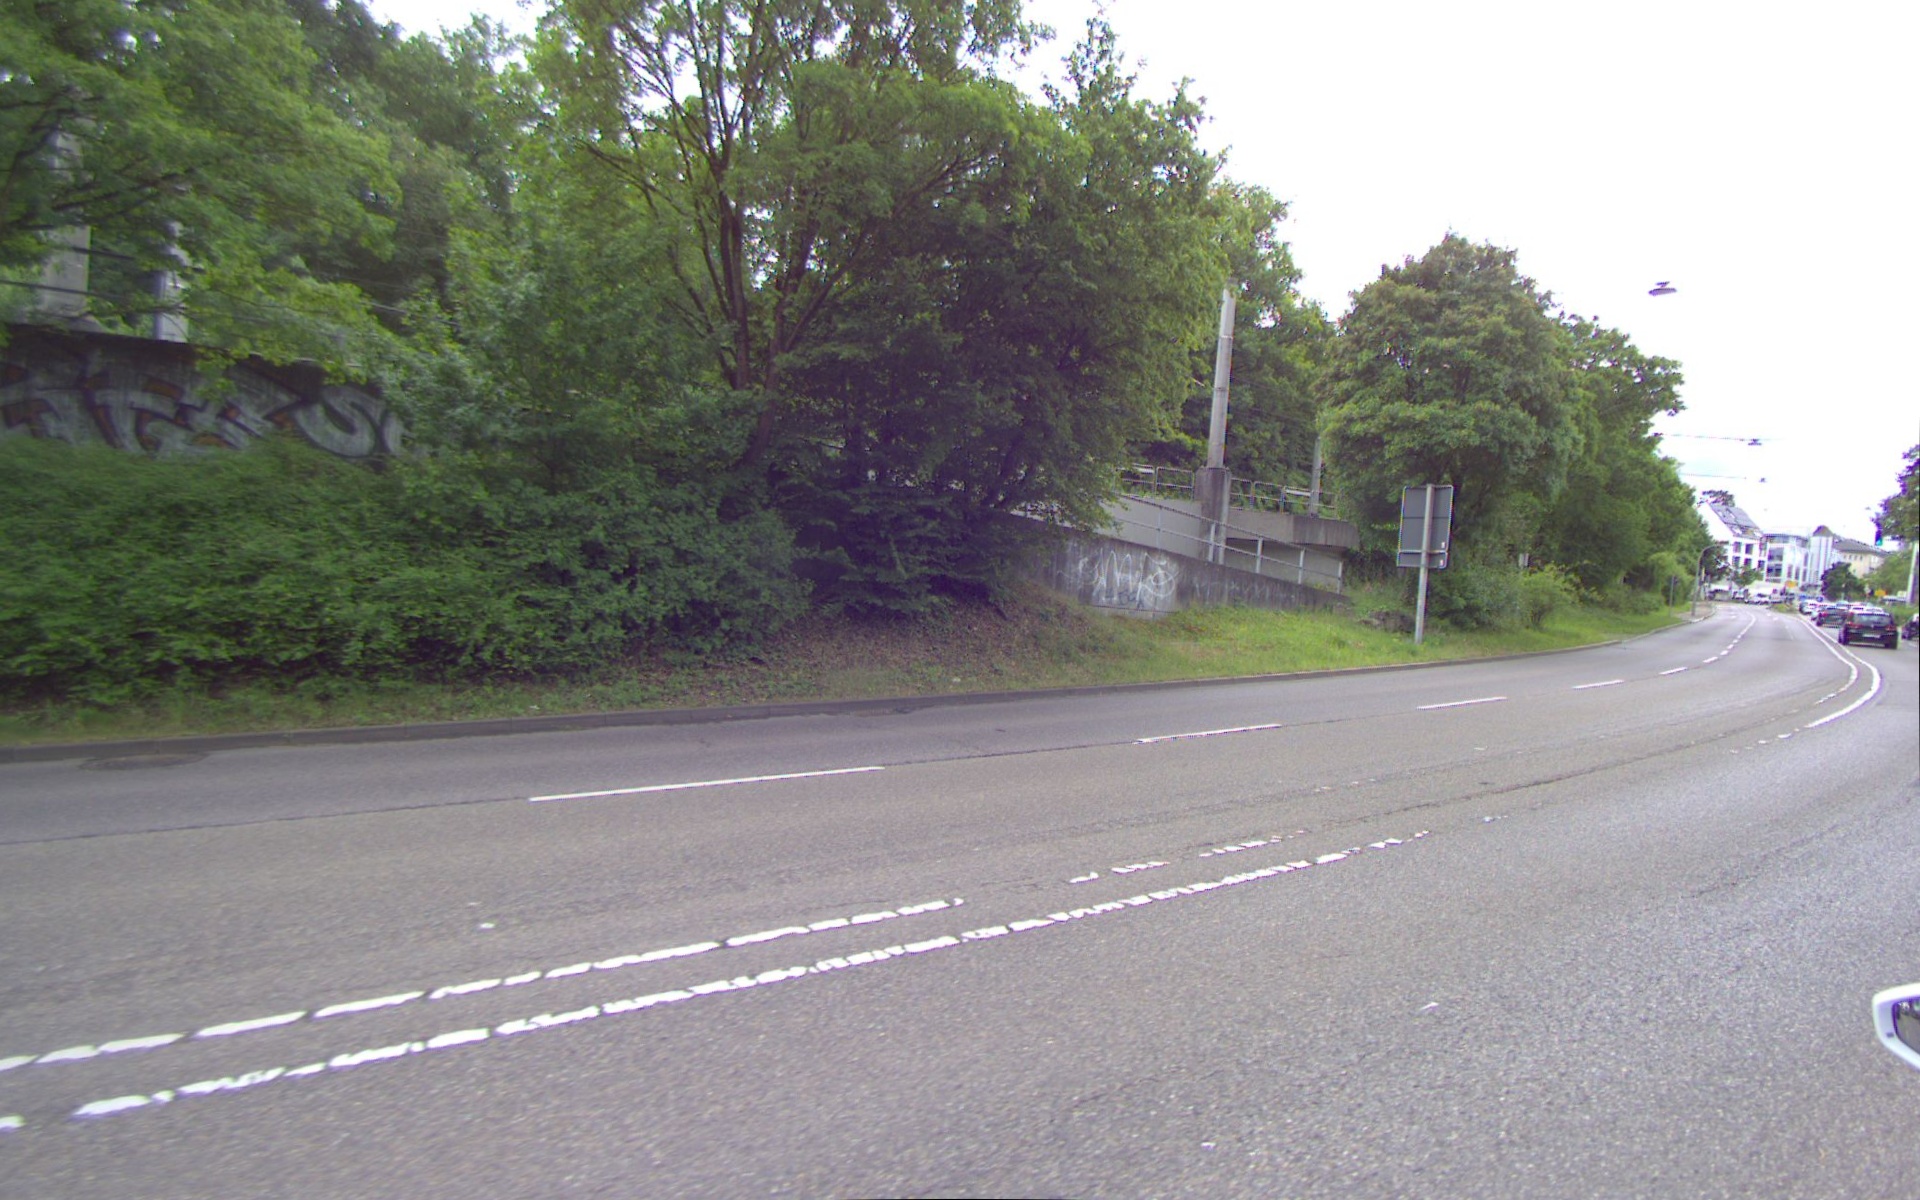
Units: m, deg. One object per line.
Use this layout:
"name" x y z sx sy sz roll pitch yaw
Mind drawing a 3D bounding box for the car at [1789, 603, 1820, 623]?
"car" 73.391 1.121 87.274 1.693 1.611 3.974 5 4 44

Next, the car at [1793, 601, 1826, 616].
"car" 95.354 0.906 112.711 3.965 1.548 1.978 0 4 -39

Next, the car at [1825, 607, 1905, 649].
"car" 38.504 1.156 42.847 1.923 1.486 3.987 4 3 35

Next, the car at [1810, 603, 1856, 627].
"car" 62.042 1.065 71.345 3.971 1.507 1.974 0 4 -43
